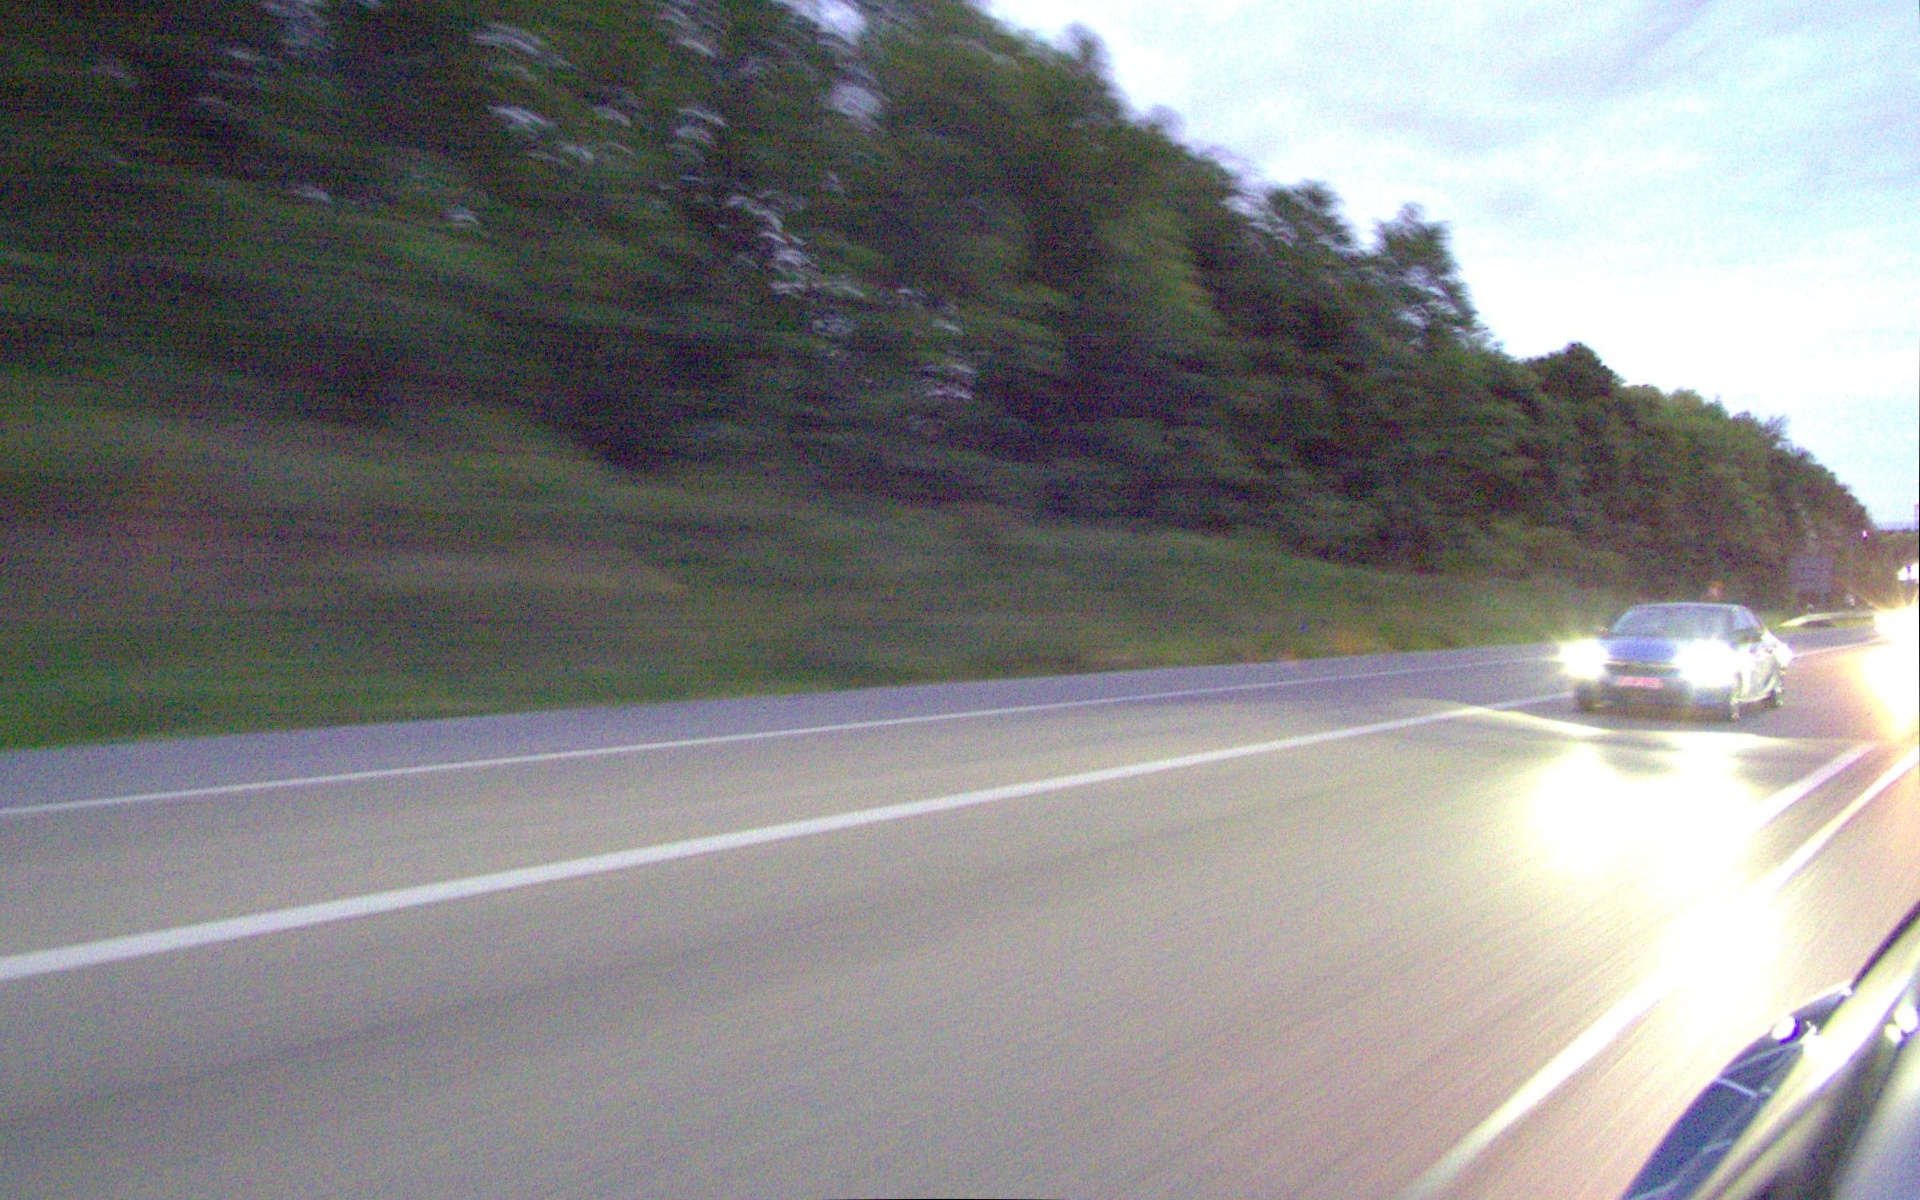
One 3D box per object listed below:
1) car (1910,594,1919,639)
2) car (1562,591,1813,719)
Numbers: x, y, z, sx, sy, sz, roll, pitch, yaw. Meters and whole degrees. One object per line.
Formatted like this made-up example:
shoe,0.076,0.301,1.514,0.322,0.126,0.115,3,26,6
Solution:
car,34.304,0.550,34.870,4.861,1.509,1.694,0,-1,-40
car,10.007,0.640,13.779,4.505,1.454,1.868,0,-1,-42
